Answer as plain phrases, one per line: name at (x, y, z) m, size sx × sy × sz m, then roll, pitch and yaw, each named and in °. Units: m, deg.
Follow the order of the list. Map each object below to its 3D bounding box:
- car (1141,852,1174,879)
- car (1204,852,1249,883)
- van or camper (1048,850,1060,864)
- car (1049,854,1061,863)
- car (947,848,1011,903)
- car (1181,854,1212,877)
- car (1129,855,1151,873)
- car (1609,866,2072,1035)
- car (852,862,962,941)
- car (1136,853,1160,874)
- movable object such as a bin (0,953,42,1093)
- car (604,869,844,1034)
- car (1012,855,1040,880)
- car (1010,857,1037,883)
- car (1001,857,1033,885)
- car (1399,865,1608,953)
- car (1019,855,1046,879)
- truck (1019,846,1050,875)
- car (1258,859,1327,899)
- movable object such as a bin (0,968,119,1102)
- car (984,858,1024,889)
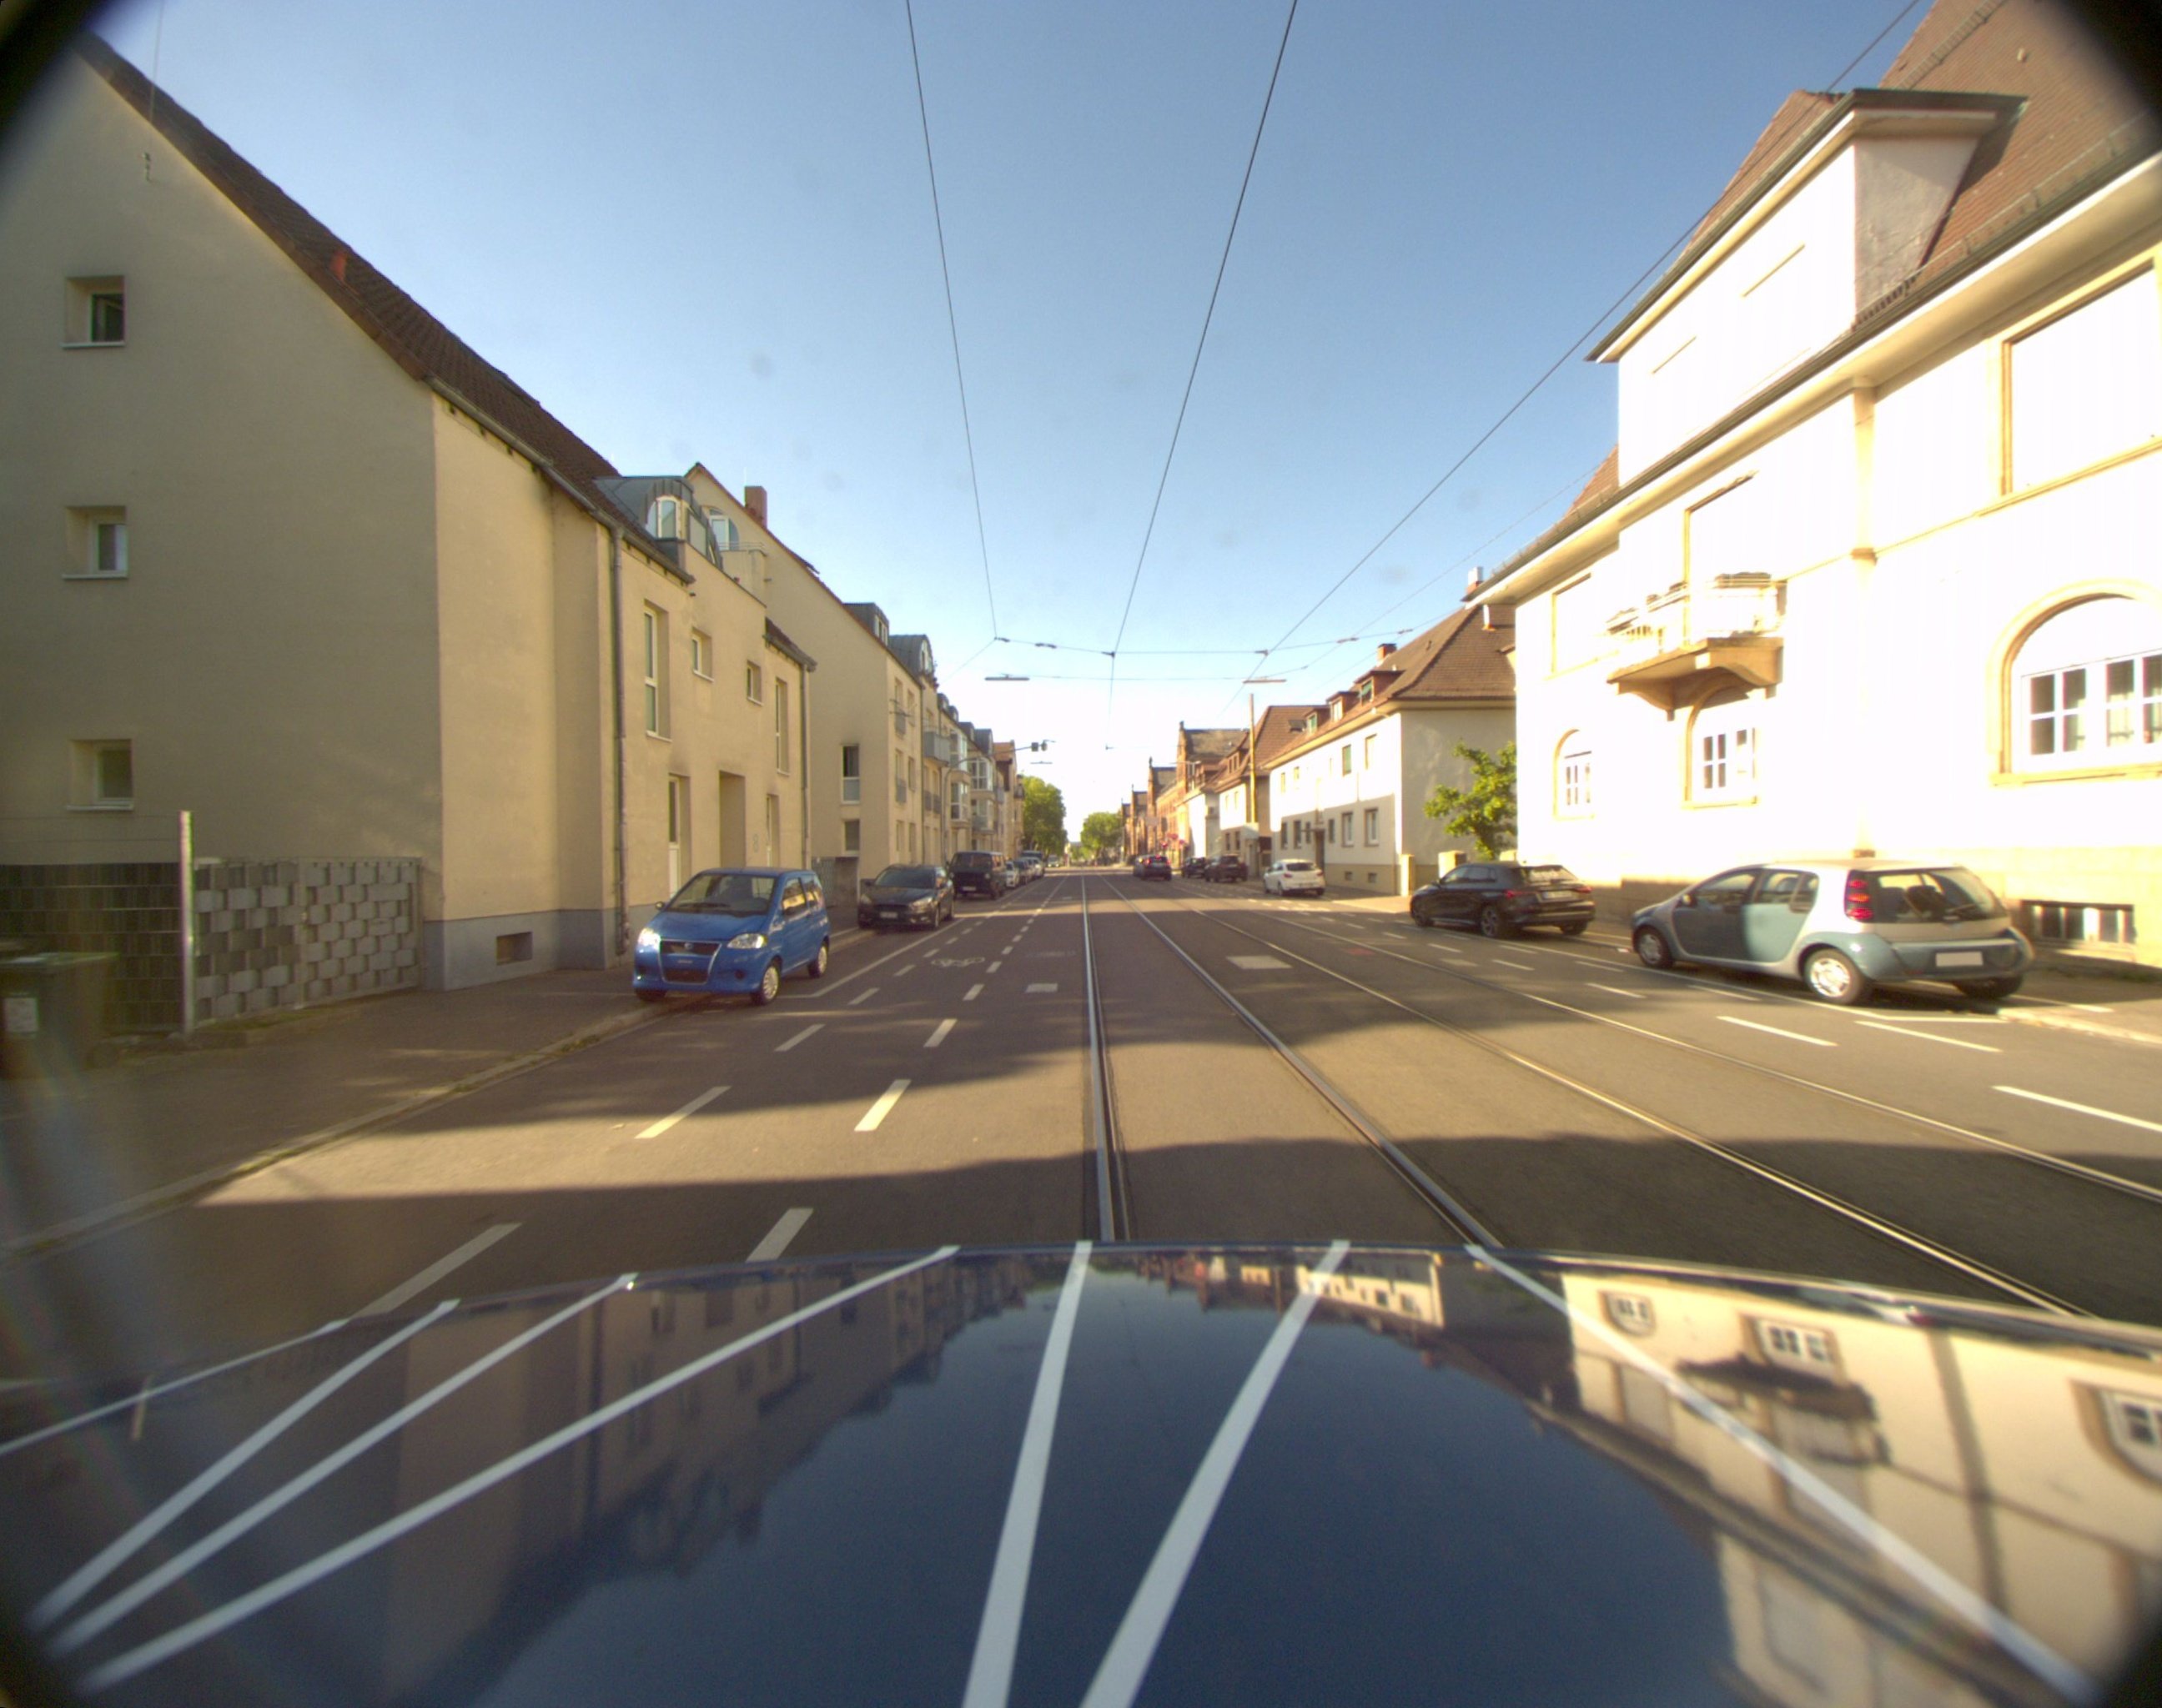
car at (4.940, 0.698, 49.753) m, size 1.708 × 1.695 × 4.363 m, roll 1°, pitch 0°, yaw 0°
car at (8.582, 0.767, 45.236) m, size 1.766 × 1.695 × 4.555 m, roll 1°, pitch 0°, yaw -1°
van or camper at (-5.048, 0.591, 142.774) m, size 1.999 × 2.346 × 5.600 m, roll -1°, pitch -1°, yaw 0°
car at (-4.521, 0.779, 132.623) m, size 1.984 × 1.539 × 4.035 m, roll -1°, pitch -1°, yaw 1°
car at (-4.015, 0.808, 30.627) m, size 1.911 × 1.975 × 4.562 m, roll -2°, pitch 0°, yaw -1°
car at (8.648, 0.854, 57.125) m, size 1.619 × 1.618 × 3.921 m, roll 1°, pitch 0°, yaw -1°
car at (4.893, 0.822, 63.112) m, size 1.586 × 1.452 × 3.613 m, roll 1°, pitch 0°, yaw 1°
car at (8.484, 0.945, 9.072) m, size 1.681 × 1.468 × 3.835 m, roll -2°, pitch 0°, yaw 0°
car at (-4.124, 1.054, 18.729) m, size 1.749 × 1.589 × 4.433 m, roll -2°, pitch 0°, yaw -2°
car at (5.043, 0.690, 57.742) m, size 1.621 × 1.452 × 4.075 m, roll 1°, pitch 0°, yaw 2°
movable object such as a bin at (-8.695, 1.327, 5.782) m, size 0.674 × 1.050 × 0.639 m, roll 0°, pitch 1°, yaw -2°
car at (-4.213, 1.040, 9.518) m, size 1.461 × 1.589 × 3.293 m, roll -2°, pitch 0°, yaw -2°
car at (-3.876, 0.949, 54.345) m, size 1.606 × 1.690 × 3.989 m, roll -2°, pitch 0°, yaw 0°
car at (-3.705, 1.017, 49.672) m, size 1.500 × 1.548 × 3.364 m, roll -2°, pitch 0°, yaw -1°
car at (-3.783, 0.983, 45.206) m, size 1.558 × 1.548 × 3.652 m, roll -2°, pitch 0°, yaw -1°
car at (8.309, 0.987, 15.447) m, size 1.667 × 1.468 × 4.249 m, roll -1°, pitch 0°, yaw -4°
car at (-3.764, 0.967, 59.974) m, size 1.743 × 1.736 × 4.255 m, roll -2°, pitch 0°, yaw 0°
truck at (-3.972, 0.544, 66.063) m, size 2.301 × 2.463 × 6.146 m, roll -1°, pitch 0°, yaw 0°
car at (8.390, 0.938, 30.435) m, size 1.635 × 1.449 × 4.015 m, roll 1°, pitch 0°, yaw 0°
movable object such as a bin at (-7.973, 1.369, 5.834) m, size 0.494 × 0.911 × 0.514 m, roll 0°, pitch 1°, yaw -2°
car at (-4.017, 0.998, 40.069) m, size 1.681 × 1.482 × 4.172 m, roll -2°, pitch 0°, yaw -1°
